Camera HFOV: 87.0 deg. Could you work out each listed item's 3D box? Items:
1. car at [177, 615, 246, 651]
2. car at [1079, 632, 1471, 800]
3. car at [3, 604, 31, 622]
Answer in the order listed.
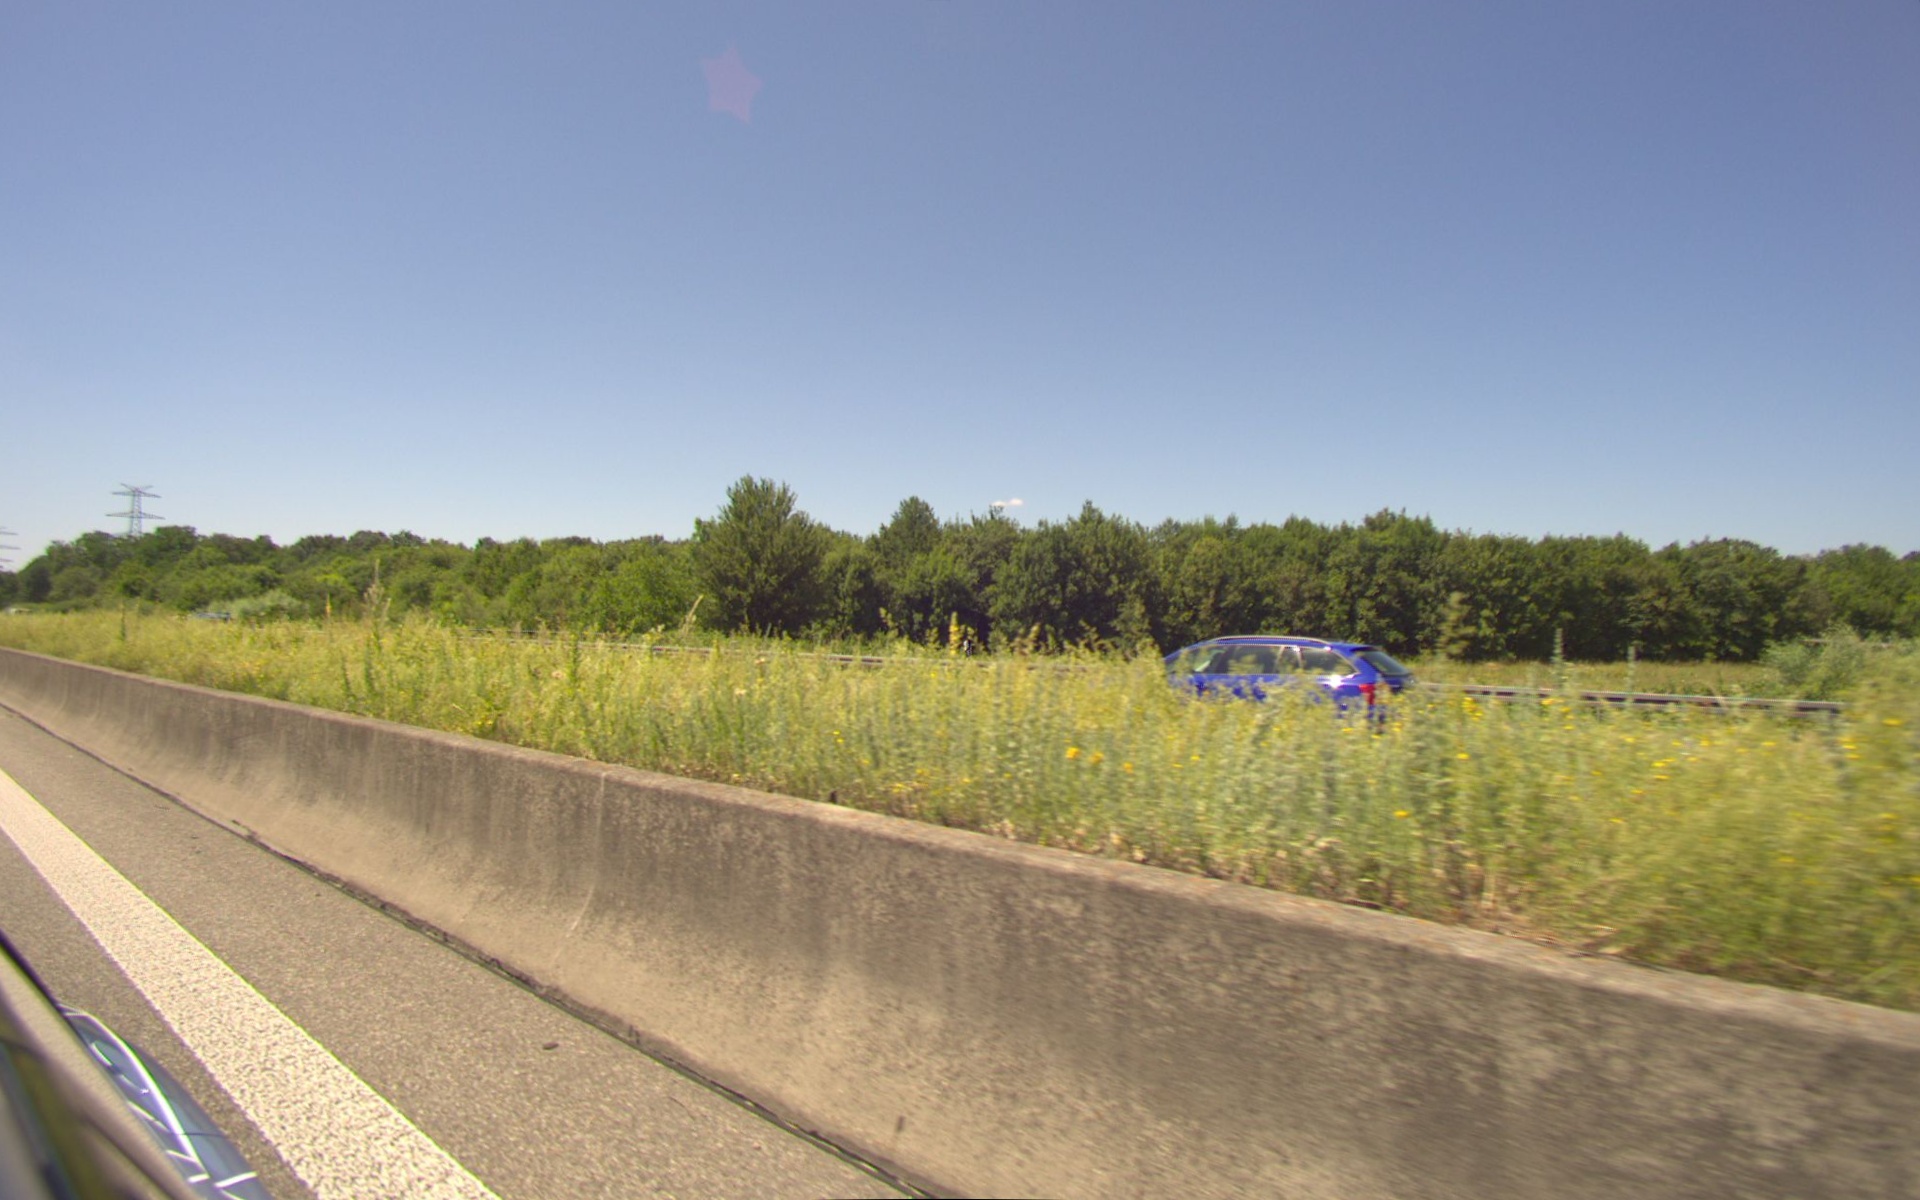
[{"bbox_3d":[-36.708,1.614,49.619,4.168,1.666,1.804,0,-3,41],"label":"car"},{"bbox_3d":[3.968,1.336,13.139,4.483,1.761,1.913,-1,-2,38],"label":"car"},{"bbox_3d":[-108.595,1.521,116.523,5.072,2.029,1.862,-1,-1,41],"label":"car"}]
